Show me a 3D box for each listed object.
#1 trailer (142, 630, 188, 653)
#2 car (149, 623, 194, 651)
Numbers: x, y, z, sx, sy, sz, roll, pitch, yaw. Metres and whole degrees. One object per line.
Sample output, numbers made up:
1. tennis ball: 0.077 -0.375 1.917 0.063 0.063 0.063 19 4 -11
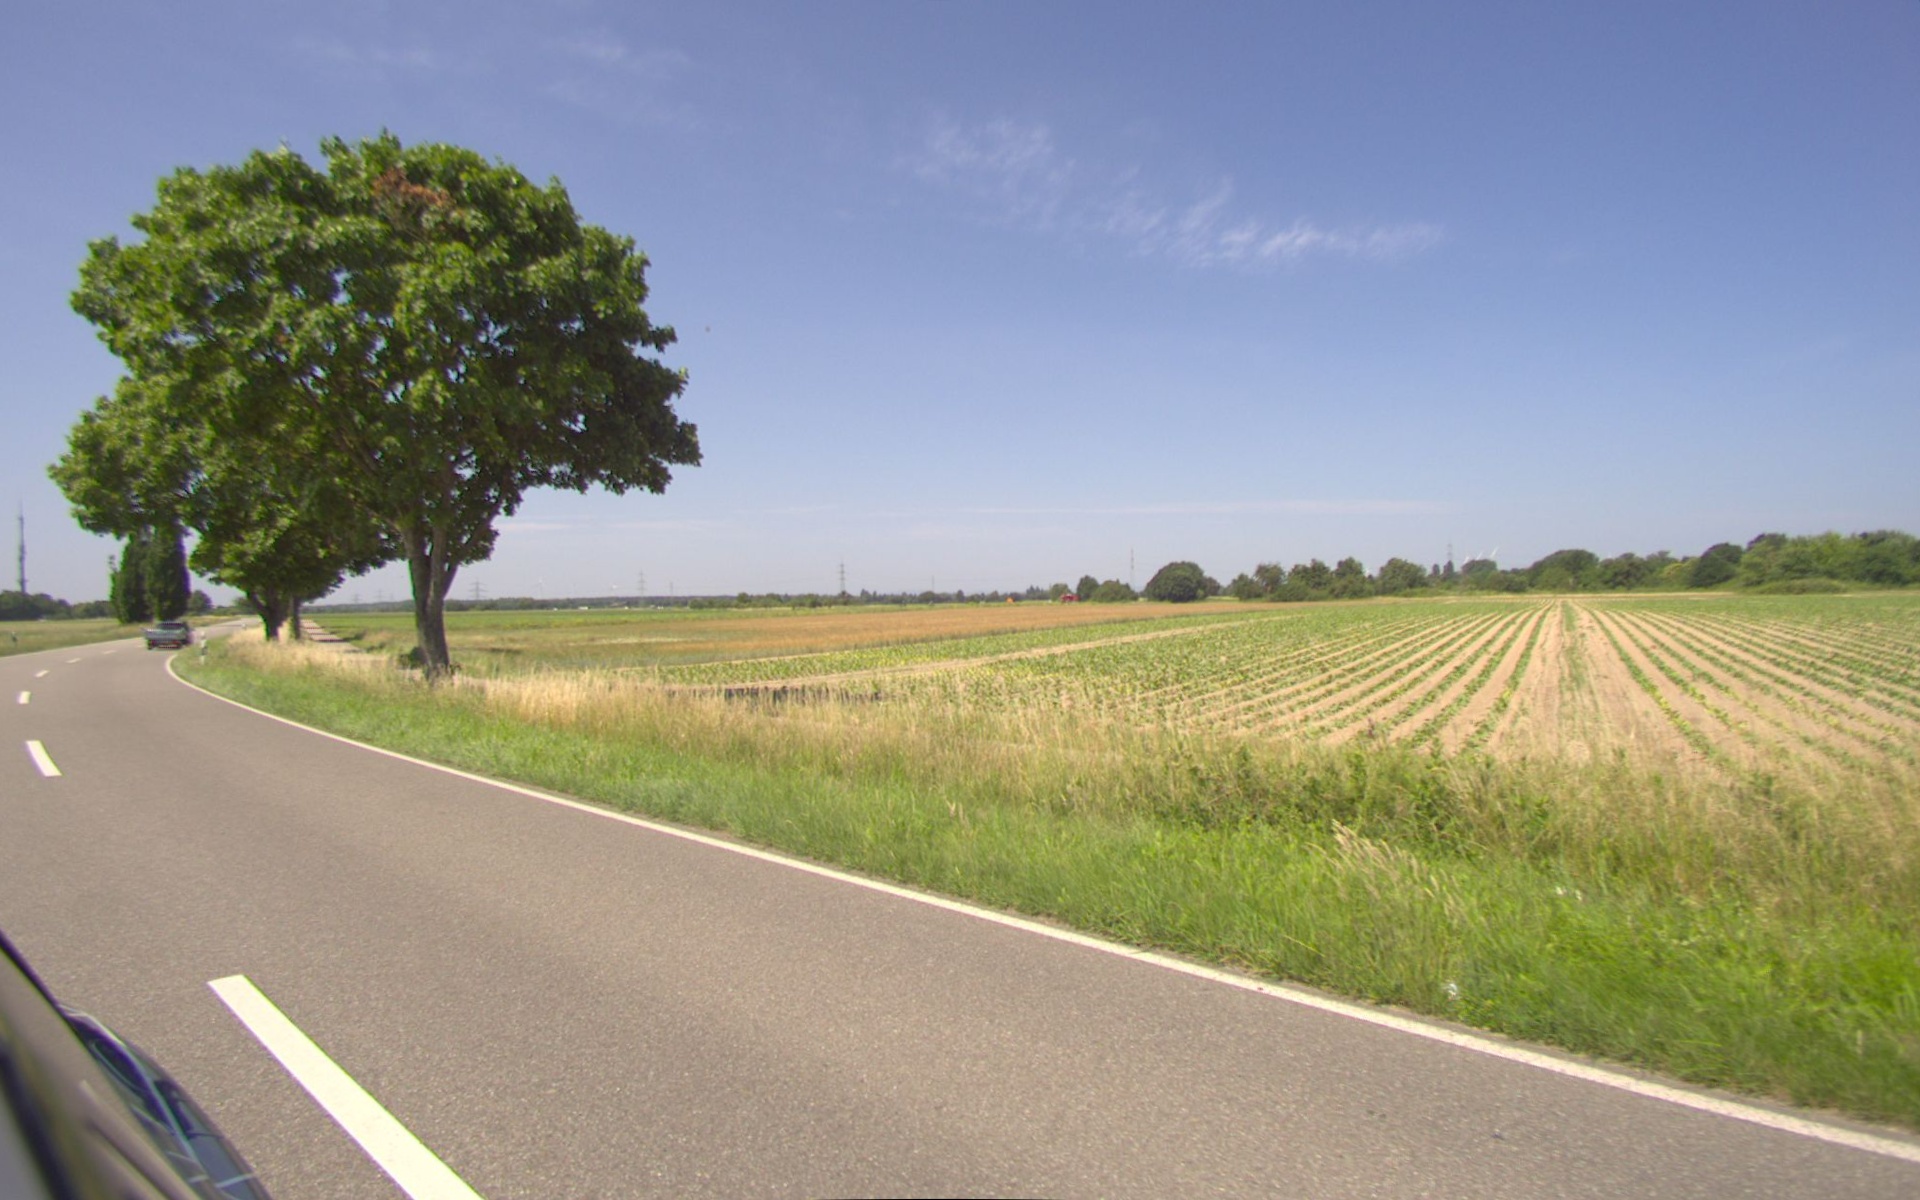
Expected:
1. trailer: -41.417 2.154 52.779 1.601 1.073 4.129 3 -3 -35
2. car: -43.753 2.039 56.212 1.621 1.440 4.191 3 -3 -34
